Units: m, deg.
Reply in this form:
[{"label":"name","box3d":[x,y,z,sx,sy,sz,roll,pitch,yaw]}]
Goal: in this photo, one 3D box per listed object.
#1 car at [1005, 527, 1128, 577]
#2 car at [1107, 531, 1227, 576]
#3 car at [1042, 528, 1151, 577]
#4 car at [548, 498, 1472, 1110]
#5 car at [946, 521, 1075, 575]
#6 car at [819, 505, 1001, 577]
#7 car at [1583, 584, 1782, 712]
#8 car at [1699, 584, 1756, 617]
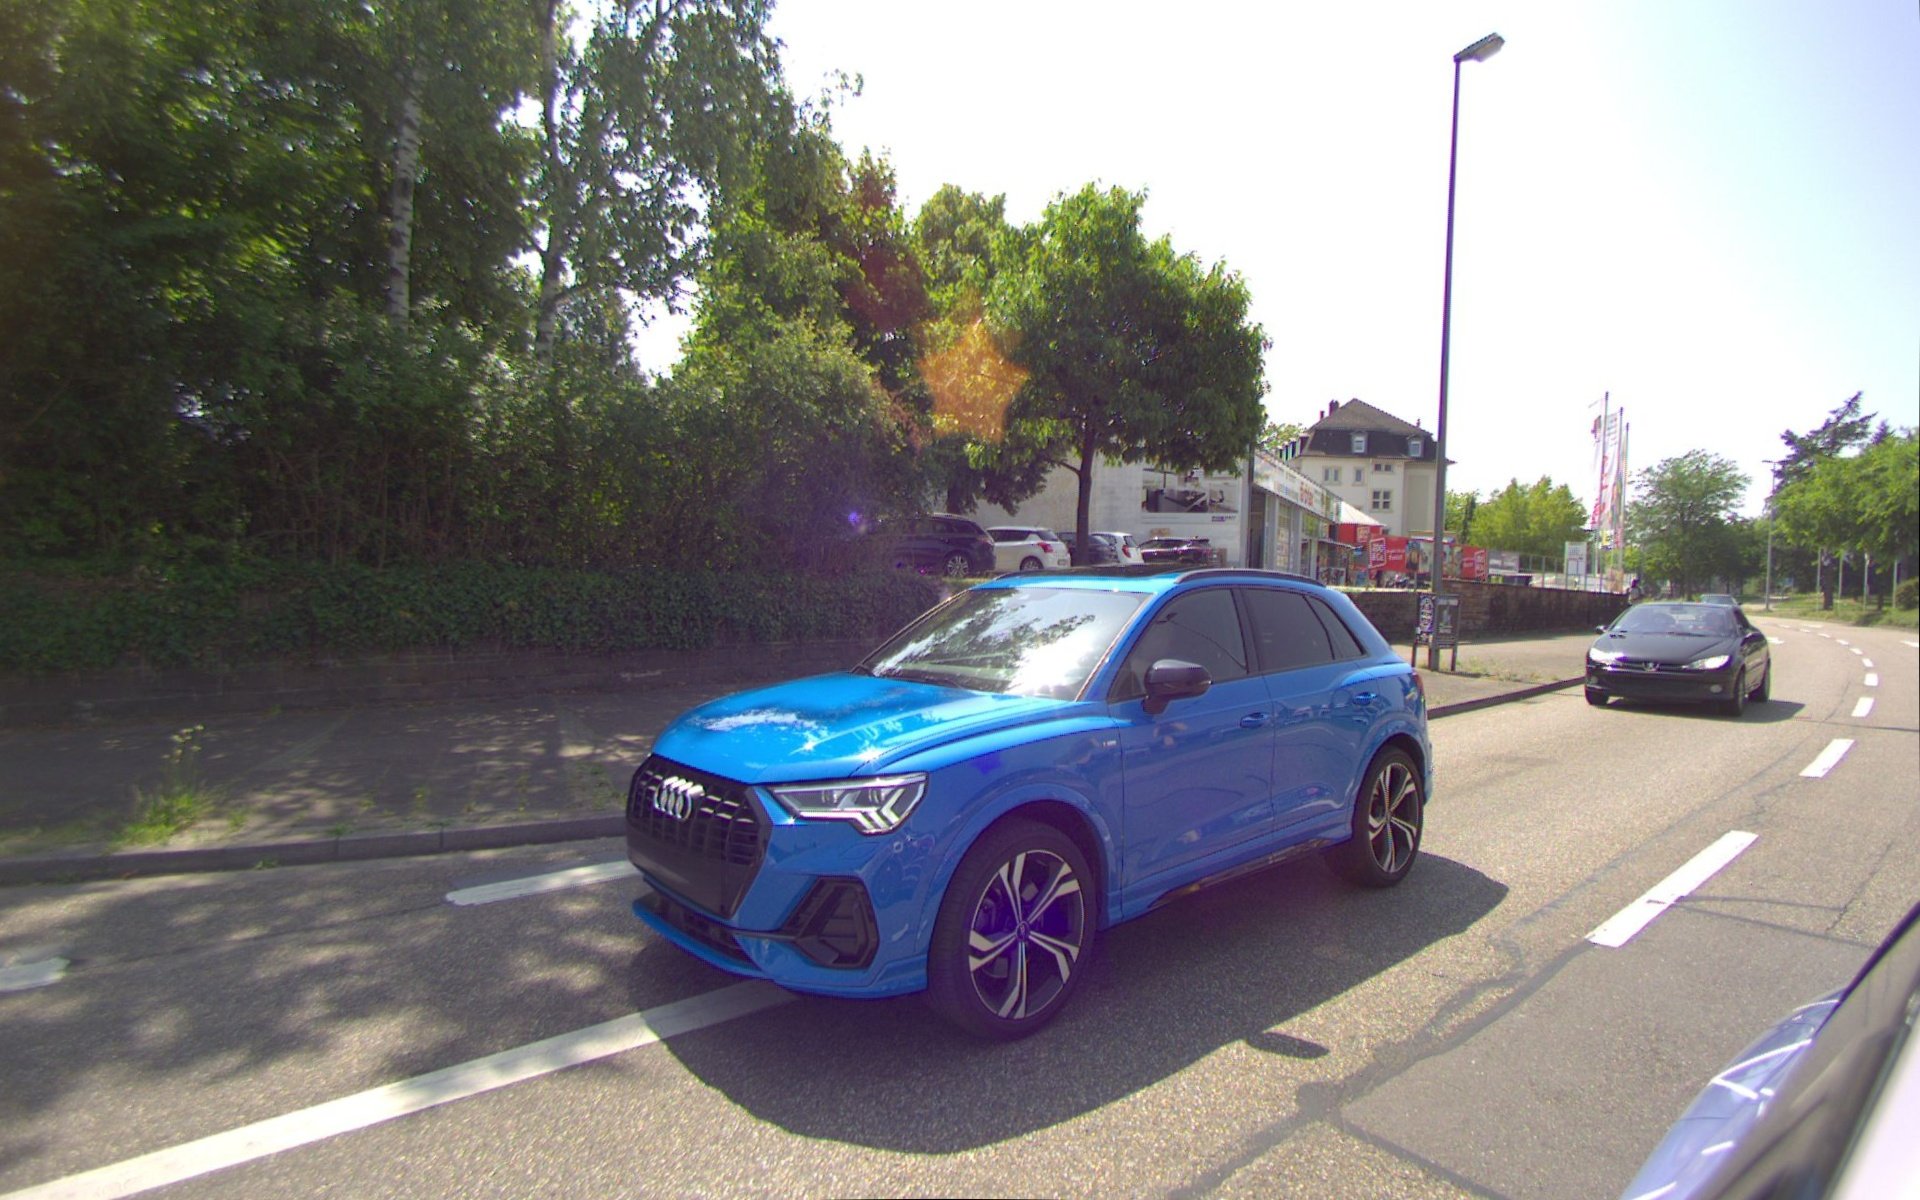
[{"label":"car","box3d":[3.180,-1.421,30.297,3.294,1.403,1.641,1,1,31]},{"label":"car","box3d":[7.557,-1.687,37.059,3.967,1.559,1.720,2,1,30]},{"label":"car","box3d":[4.380,-1.502,32.509,3.133,1.490,1.485,2,1,34]},{"label":"car","box3d":[0.562,0.550,4.844,4.319,1.617,1.916,0,-1,-41]},{"label":"car","box3d":[1.400,-1.421,28.291,3.264,1.429,1.514,1,1,31]},{"label":"car","box3d":[-1.171,-1.291,22.894,3.768,1.502,2.004,0,1,-16]},{"label":"car","box3d":[9.782,0.553,13.604,1.601,1.443,3.602,3,2,45]},{"label":"car","box3d":[38.007,-0.008,50.202,1.685,1.390,3.960,2,4,30]}]
